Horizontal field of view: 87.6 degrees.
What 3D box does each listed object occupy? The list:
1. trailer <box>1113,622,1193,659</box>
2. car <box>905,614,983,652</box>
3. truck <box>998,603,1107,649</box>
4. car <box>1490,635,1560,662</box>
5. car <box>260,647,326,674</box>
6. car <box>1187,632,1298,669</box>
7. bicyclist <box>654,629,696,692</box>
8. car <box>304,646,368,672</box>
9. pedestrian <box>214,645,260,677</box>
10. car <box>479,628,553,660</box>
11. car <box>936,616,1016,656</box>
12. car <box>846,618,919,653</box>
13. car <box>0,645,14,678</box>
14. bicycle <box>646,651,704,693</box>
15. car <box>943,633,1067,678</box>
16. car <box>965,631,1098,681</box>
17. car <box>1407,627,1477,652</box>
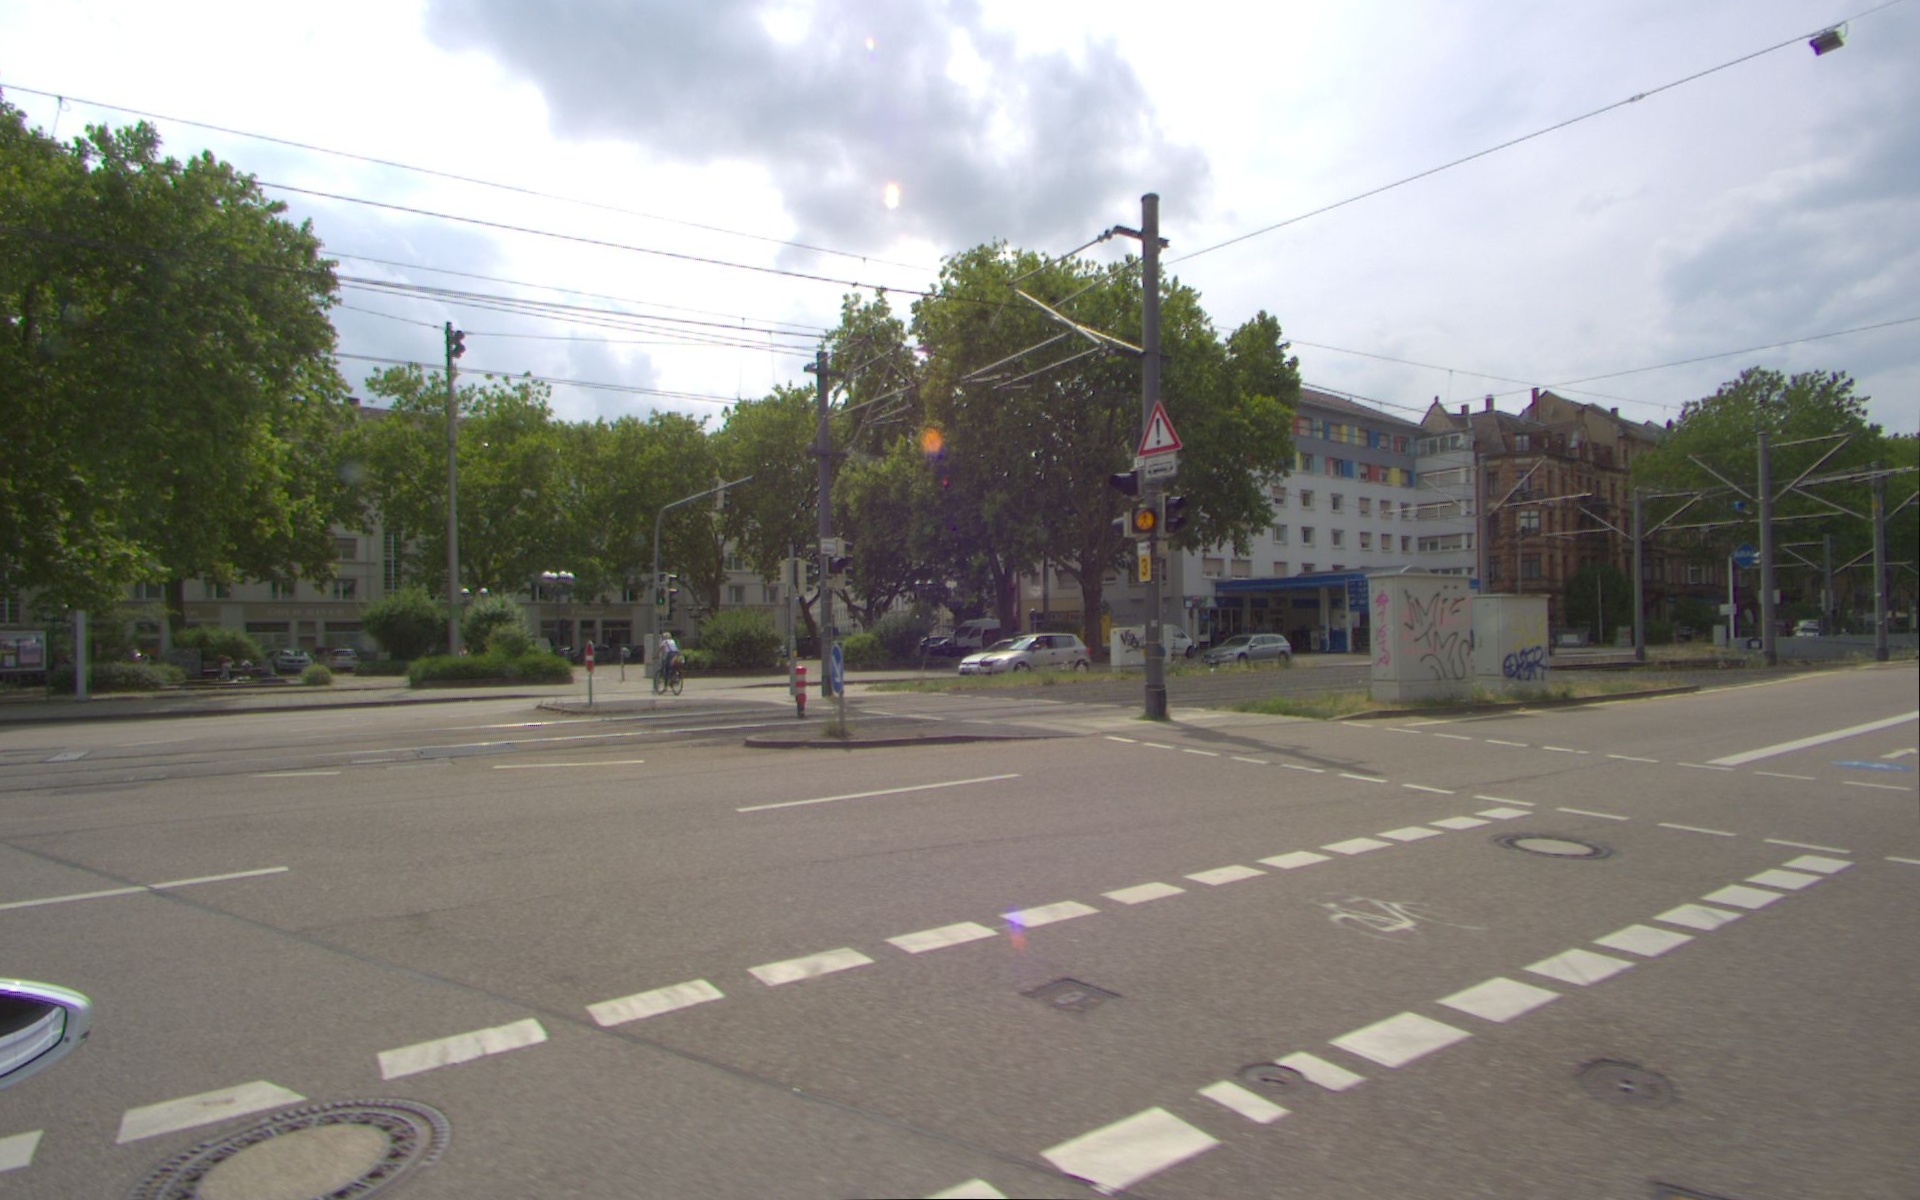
[{"bbox_3d":[10.617,2.205,55.036,4.381,1.950,1.842,0,-2,-36],"label":"trailer"},{"bbox_3d":[-1.174,2.427,73.262,5.275,2.616,2.481,1,-3,-38],"label":"car"},{"bbox_3d":[5.483,1.585,60.328,3.043,2.610,6.465,0,-2,-37],"label":"truck"},{"bbox_3d":[31.991,2.726,56.650,3.945,1.417,1.750,0,-3,-32],"label":"car"},{"bbox_3d":[-40.211,3.629,60.351,3.946,1.522,1.989,-2,-2,34],"label":"car"},{"bbox_3d":[11.905,2.131,42.131,4.735,1.417,1.750,0,-3,-32],"label":"car"},{"bbox_3d":[-7.873,1.655,27.640,0.896,1.705,0.751,0,-1,-37],"label":"bicyclist"},{"bbox_3d":[-38.682,3.663,62.061,3.946,1.538,1.989,-2,-2,34],"label":"car"},{"bbox_3d":[-30.388,2.575,42.085,1.421,1.252,1.088,-3,0,34],"label":"pedestrian"},{"bbox_3d":[-27.906,2.751,63.013,3.950,1.907,1.845,0,-2,-36],"label":"car"},{"bbox_3d":[1.135,2.492,69.321,5.275,2.616,2.164,1,-3,-38],"label":"car"},{"bbox_3d":[-6.137,2.801,79.475,5.275,2.616,2.481,1,-3,-38],"label":"car"},{"bbox_3d":[-51.300,3.223,52.447,3.946,1.705,1.800,-2,-2,34],"label":"car"},{"bbox_3d":[-7.906,1.975,27.708,0.895,1.088,1.956,0,-2,-37],"label":"bicycle"},{"bbox_3d":[1.571,1.913,34.749,4.024,1.432,1.750,0,-3,-32],"label":"car"},{"bbox_3d":[2.254,1.728,31.179,3.945,1.417,1.617,0,-3,-32],"label":"car"},{"bbox_3d":[30.931,2.528,64.225,4.558,1.534,1.984,0,-3,-34],"label":"car"}]
